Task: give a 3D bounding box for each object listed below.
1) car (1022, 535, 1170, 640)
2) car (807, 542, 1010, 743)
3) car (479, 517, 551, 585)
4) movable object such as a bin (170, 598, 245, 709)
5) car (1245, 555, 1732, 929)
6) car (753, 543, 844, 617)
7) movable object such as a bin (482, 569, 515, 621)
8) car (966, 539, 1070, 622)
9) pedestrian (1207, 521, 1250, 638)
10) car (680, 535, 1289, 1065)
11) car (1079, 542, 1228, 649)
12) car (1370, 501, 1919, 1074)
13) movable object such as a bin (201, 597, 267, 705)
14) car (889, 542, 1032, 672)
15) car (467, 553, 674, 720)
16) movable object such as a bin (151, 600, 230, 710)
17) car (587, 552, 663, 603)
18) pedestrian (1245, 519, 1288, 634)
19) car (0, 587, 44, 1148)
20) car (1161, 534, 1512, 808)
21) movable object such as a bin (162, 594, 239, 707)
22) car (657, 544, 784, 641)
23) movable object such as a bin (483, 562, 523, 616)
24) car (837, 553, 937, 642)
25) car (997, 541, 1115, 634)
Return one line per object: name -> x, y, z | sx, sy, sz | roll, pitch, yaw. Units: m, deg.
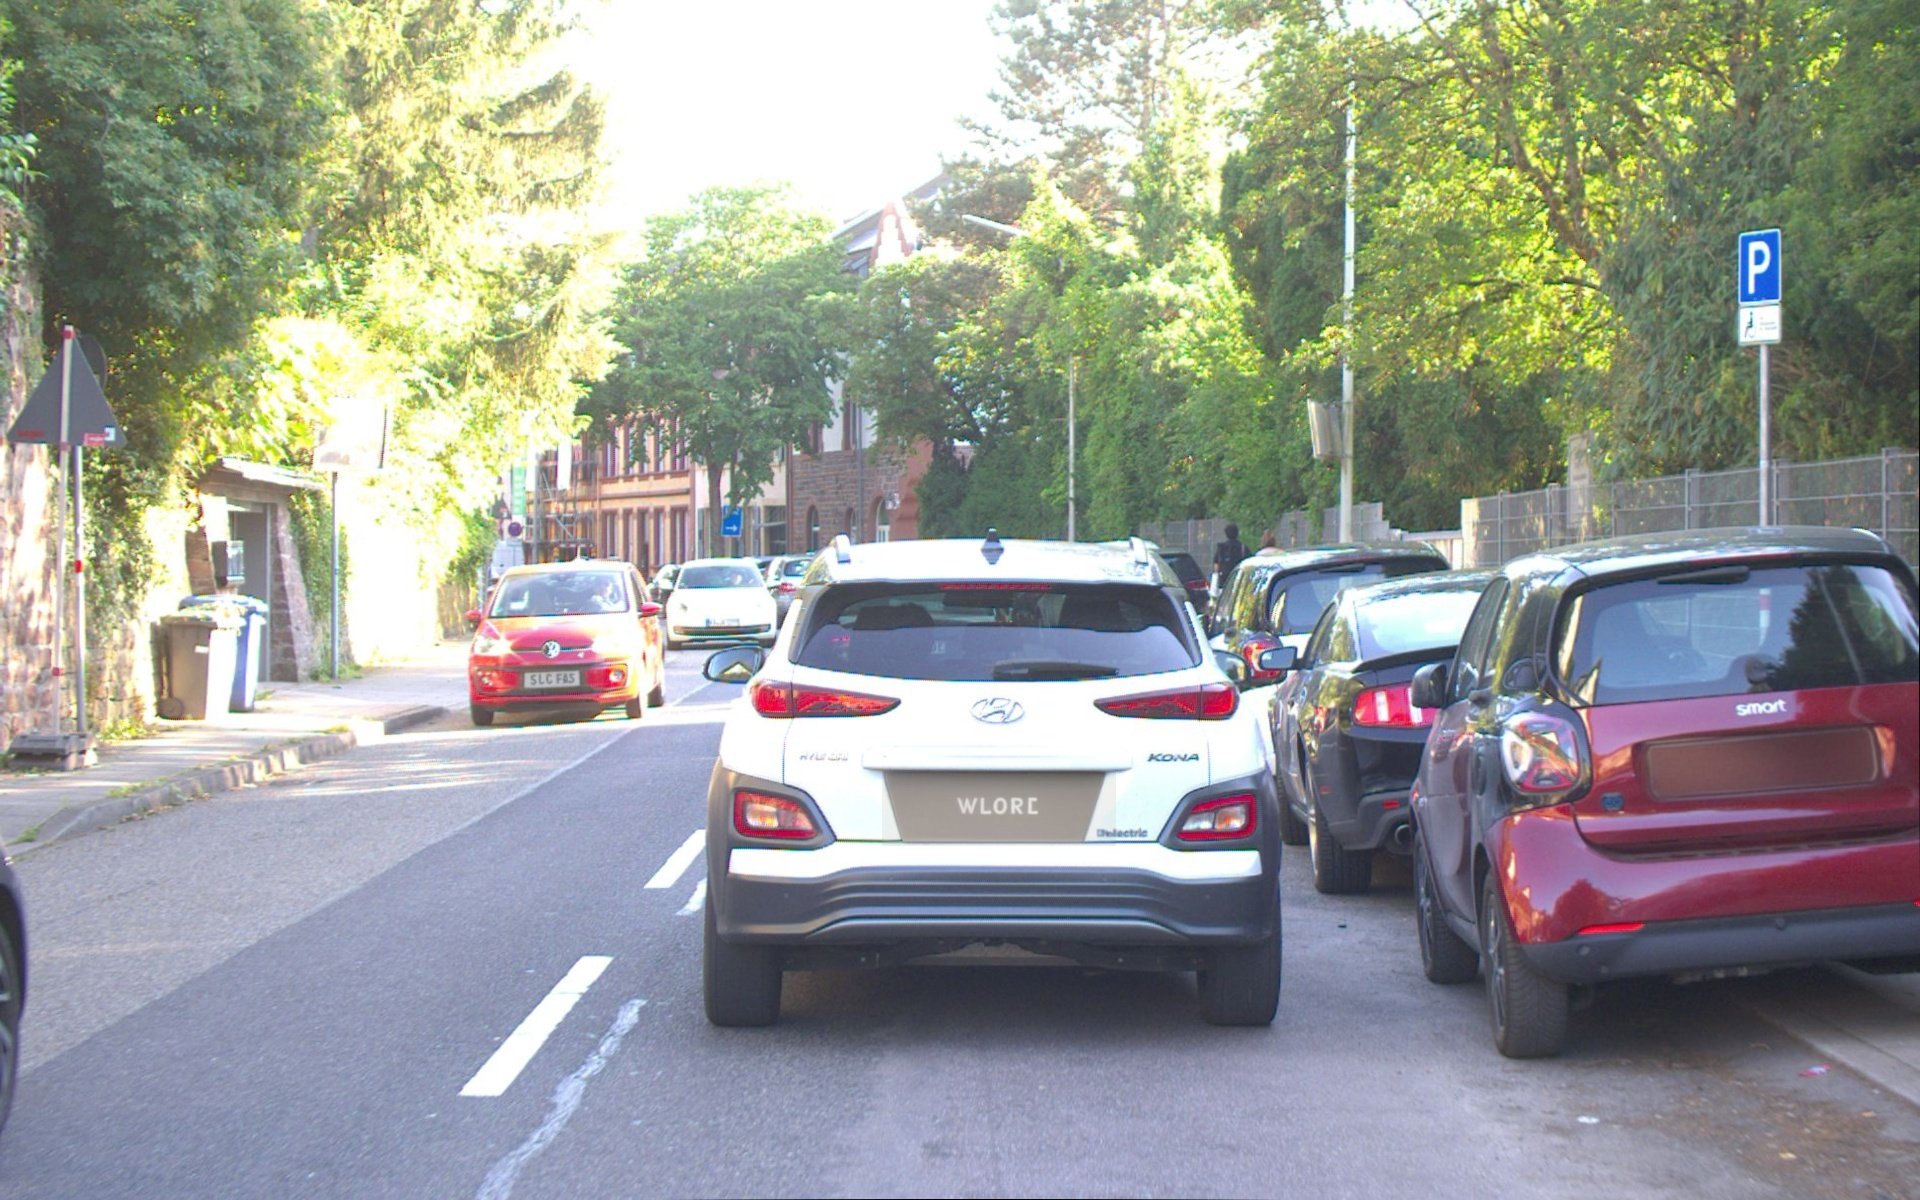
car -> 2.150, -0.207, 55.414 | 1.593, 1.560, 4.001 | -2, 1, -9
car -> -0.371, 0.302, 28.298 | 1.512, 1.528, 3.548 | 0, 1, 2
car -> -17.437, -1.901, 134.629 | 1.928, 2.574, 4.395 | -1, 1, -19
movable object such as a bin -> -6.786, 0.480, 30.992 | 0.573, 0.981, 0.438 | 1, 0, -3
car -> 2.394, 0.556, 16.704 | 1.710, 1.492, 4.814 | 2, 1, 2
car -> -3.530, -0.448, 74.787 | 1.589, 1.577, 3.362 | 0, 1, -9
movable object such as a bin -> -9.097, -0.104, 67.800 | 0.495, 1.008, 1.113 | 1, 0, -1
car -> 1.104, -0.403, 66.476 | 1.593, 1.484, 3.603 | -3, 1, -5
pedestrian -> 3.737, -0.289, 47.911 | 0.503, 1.601, 0.491 | -2, 1, 0
car -> 0.080, 0.563, 12.096 | 1.772, 1.537, 4.000 | 1, 1, 0
car -> 2.766, -0.097, 49.846 | 1.686, 1.426, 4.001 | -2, 1, -3
car -> 2.374, 0.519, 11.369 | 1.653, 1.559, 2.872 | -5, 0, 2
movable object such as a bin -> -6.663, 0.466, 31.576 | 0.490, 0.961, 0.583 | 1, 1, -3
car -> 0.042, 0.053, 41.605 | 1.570, 1.472, 3.547 | 1, 1, 2
car -> -3.691, 0.309, 33.026 | 1.550, 1.461, 3.569 | -2, 1, 0
movable object such as a bin -> -6.724, 0.478, 30.046 | 0.583, 0.934, 0.438 | 1, 0, -3
car -> -11.366, -0.777, 116.426 | 1.755, 1.611, 4.001 | 1, 1, -18
pedestrian -> 4.271, -0.330, 47.900 | 0.503, 1.564, 0.503 | -2, 1, 0
car -> -3.218, 0.707, 7.119 | 1.649, 1.406, 3.931 | -1, 1, -1
car -> 2.278, 0.387, 21.442 | 1.624, 1.504, 2.904 | -2, 2, -4
movable object such as a bin -> -6.737, 0.448, 30.504 | 0.573, 0.981, 0.438 | 1, 0, -3
car -> -3.969, -0.135, 57.537 | 1.741, 1.469, 4.000 | -3, 0, 0
movable object such as a bin -> -10.348, -0.250, 77.848 | 0.792, 1.185, 0.773 | 1, 0, -2
car -> -1.261, -0.064, 58.269 | 1.592, 1.456, 3.099 | 0, 1, -3
car -> 1.670, -0.226, 60.761 | 1.593, 1.514, 3.933 | -3, 1, -5
